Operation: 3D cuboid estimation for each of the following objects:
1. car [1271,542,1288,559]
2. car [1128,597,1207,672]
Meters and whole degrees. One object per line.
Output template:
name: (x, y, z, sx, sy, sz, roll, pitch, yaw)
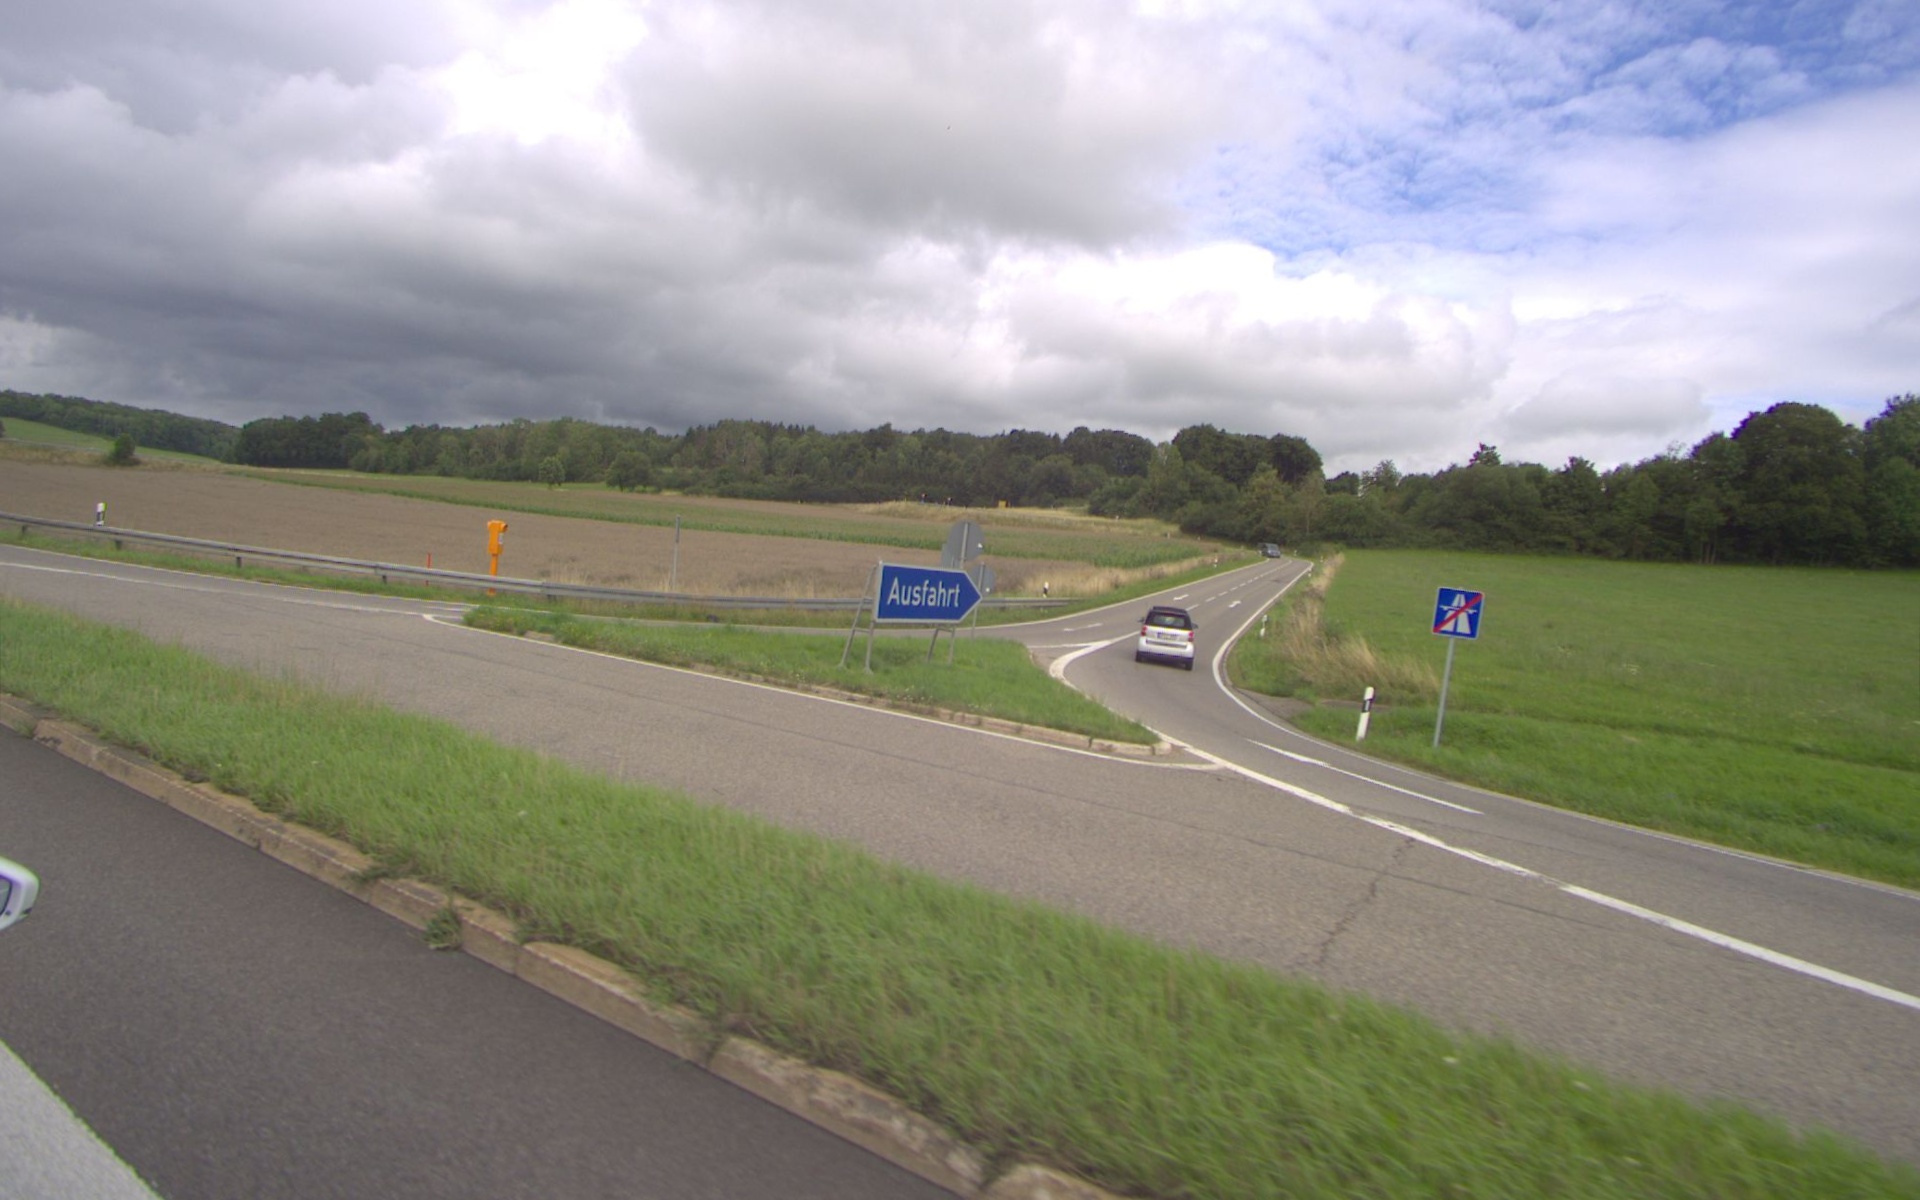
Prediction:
car: (46.656, -7.176, 146.843, 1.962, 2.040, 3.998, 6, 2, 14)
car: (5.850, 0.919, 28.790, 1.750, 1.573, 3.994, 8, 4, 8)
